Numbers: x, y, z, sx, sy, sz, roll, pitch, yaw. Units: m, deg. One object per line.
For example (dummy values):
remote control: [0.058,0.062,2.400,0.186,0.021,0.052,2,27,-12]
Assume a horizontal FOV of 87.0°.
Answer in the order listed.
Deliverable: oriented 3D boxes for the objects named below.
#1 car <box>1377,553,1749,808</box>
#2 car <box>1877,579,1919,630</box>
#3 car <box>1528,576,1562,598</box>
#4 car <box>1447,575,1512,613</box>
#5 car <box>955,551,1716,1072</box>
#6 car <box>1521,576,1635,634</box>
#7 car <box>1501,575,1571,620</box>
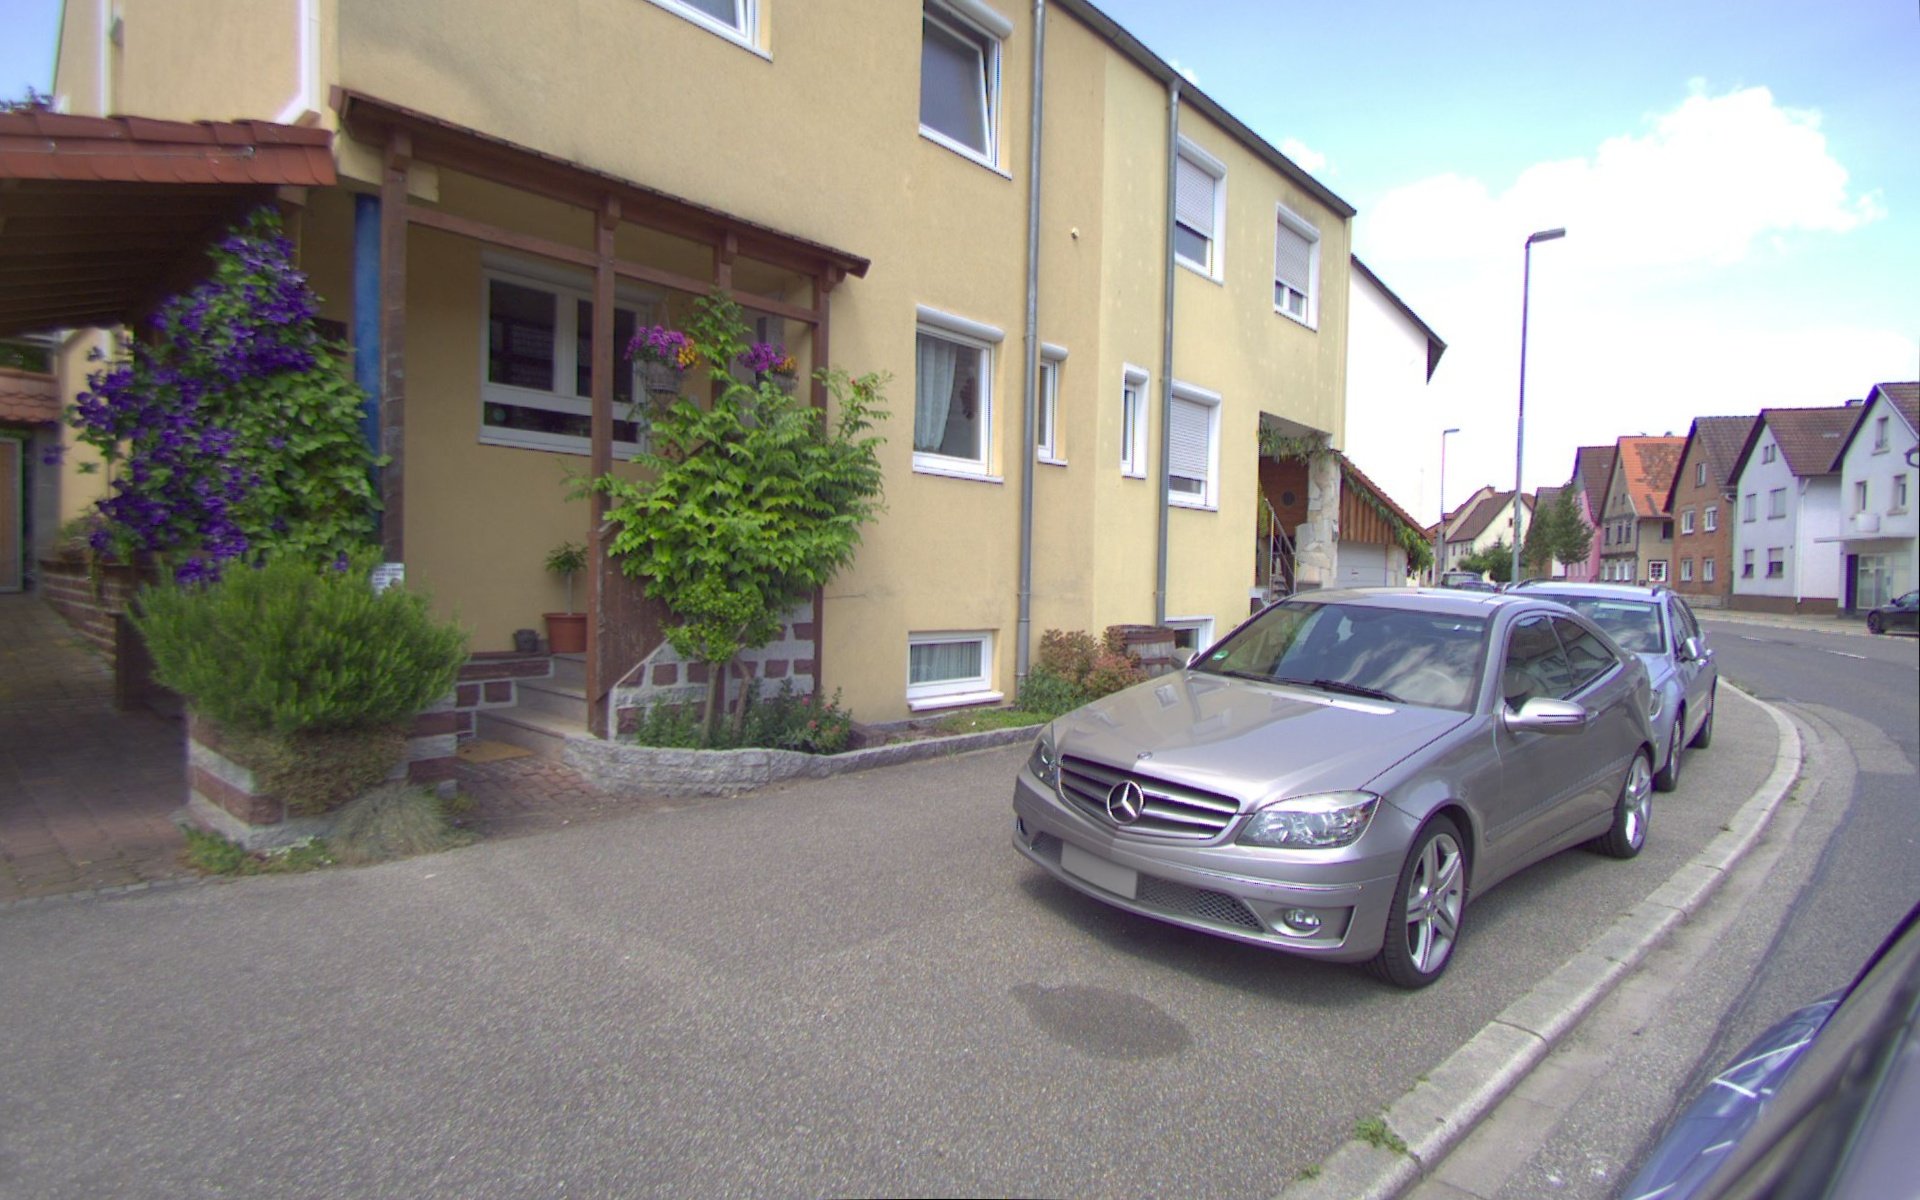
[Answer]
car: [5.338,0.454,8.676,1.885,1.548,4.270,5,4,42]
car: [28.005,0.122,28.465,1.789,1.438,4.517,0,1,22]
car: [43.552,-0.996,75.420,1.665,1.549,3.475,0,2,22]
car: [23.573,-0.293,46.067,1.641,1.668,3.985,0,1,13]
car: [2.168,0.507,5.010,4.352,1.416,1.773,-3,6,-44]
car: [17.567,0.088,28.955,1.704,1.402,3.982,1,3,16]
car: [20.974,-0.069,36.977,1.754,1.549,3.968,1,0,23]
